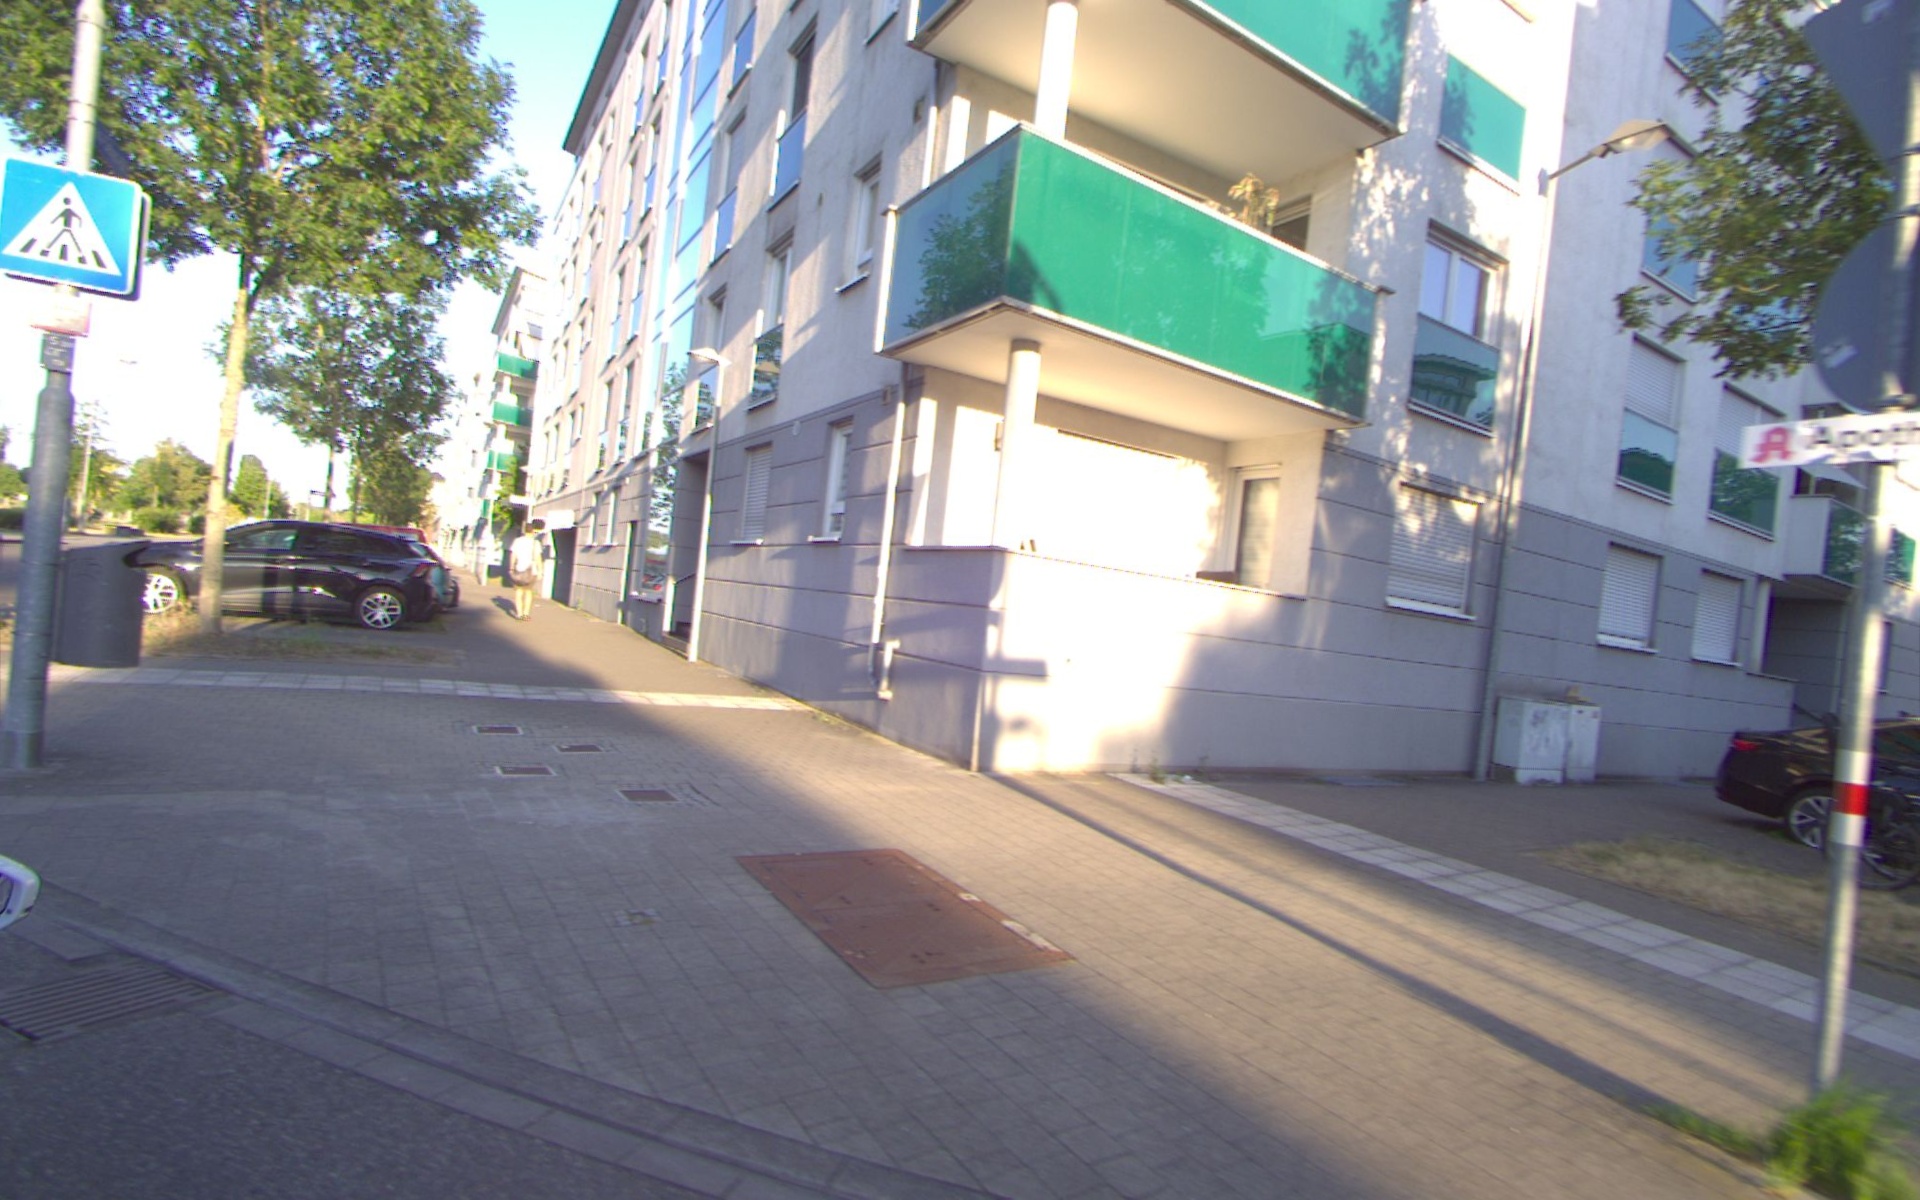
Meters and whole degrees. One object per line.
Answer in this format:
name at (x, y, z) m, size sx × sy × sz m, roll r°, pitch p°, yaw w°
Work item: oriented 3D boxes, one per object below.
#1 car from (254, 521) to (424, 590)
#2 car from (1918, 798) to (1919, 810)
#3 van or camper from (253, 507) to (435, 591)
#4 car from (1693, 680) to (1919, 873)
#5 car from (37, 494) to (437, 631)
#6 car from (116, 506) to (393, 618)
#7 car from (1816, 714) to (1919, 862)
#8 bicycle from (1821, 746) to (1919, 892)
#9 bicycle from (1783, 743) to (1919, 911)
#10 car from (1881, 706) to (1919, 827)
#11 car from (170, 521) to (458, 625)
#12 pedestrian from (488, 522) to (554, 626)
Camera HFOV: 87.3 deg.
car at (-19.824, -1.404, 32.285) m, size 4.422 × 1.539 × 1.687 m, roll 8°, pitch -1°, yaw -32°
car at (16.239, 2.731, 13.623) m, size 1.721 × 1.477 × 4.268 m, roll 8°, pitch 2°, yaw -24°
van or camper at (-21.170, -1.713, 34.797) m, size 5.081 × 2.085 × 1.862 m, roll 8°, pitch -1°, yaw -33°
car at (9.935, 1.925, 9.111) m, size 1.917 × 1.476 × 4.848 m, roll 7°, pitch 2°, yaw -31°
car at (-10.220, -0.480, 14.666) m, size 4.431 × 1.506 × 1.818 m, roll 5°, pitch 1°, yaw -32°
car at (-13.129, -0.674, 19.028) m, size 4.015 × 1.497 × 1.687 m, roll 8°, pitch -1°, yaw -32°
car at (12.117, 2.310, 10.533) m, size 1.723 × 1.526 × 4.383 m, roll 7°, pitch -1°, yaw -29°
bicycle at (8.239, 1.899, 7.942) m, size 0.469 × 1.059 × 2.014 m, roll 7°, pitch 2°, yaw -37°
bicycle at (7.273, 1.763, 7.331) m, size 0.562 × 1.055 × 1.774 m, roll 7°, pitch 2°, yaw -37°
car at (14.215, 2.466, 12.056) m, size 1.726 × 1.513 × 4.256 m, roll 7°, pitch 2°, yaw -33°
car at (-10.990, -0.441, 17.383) m, size 3.961 × 1.392 × 1.546 m, roll 5°, pitch 1°, yaw -32°
pedestrian at (-8.596, -0.508, 19.694) m, size 0.968 × 1.919 × 1.042 m, roll 4°, pitch 1°, yaw -30°
